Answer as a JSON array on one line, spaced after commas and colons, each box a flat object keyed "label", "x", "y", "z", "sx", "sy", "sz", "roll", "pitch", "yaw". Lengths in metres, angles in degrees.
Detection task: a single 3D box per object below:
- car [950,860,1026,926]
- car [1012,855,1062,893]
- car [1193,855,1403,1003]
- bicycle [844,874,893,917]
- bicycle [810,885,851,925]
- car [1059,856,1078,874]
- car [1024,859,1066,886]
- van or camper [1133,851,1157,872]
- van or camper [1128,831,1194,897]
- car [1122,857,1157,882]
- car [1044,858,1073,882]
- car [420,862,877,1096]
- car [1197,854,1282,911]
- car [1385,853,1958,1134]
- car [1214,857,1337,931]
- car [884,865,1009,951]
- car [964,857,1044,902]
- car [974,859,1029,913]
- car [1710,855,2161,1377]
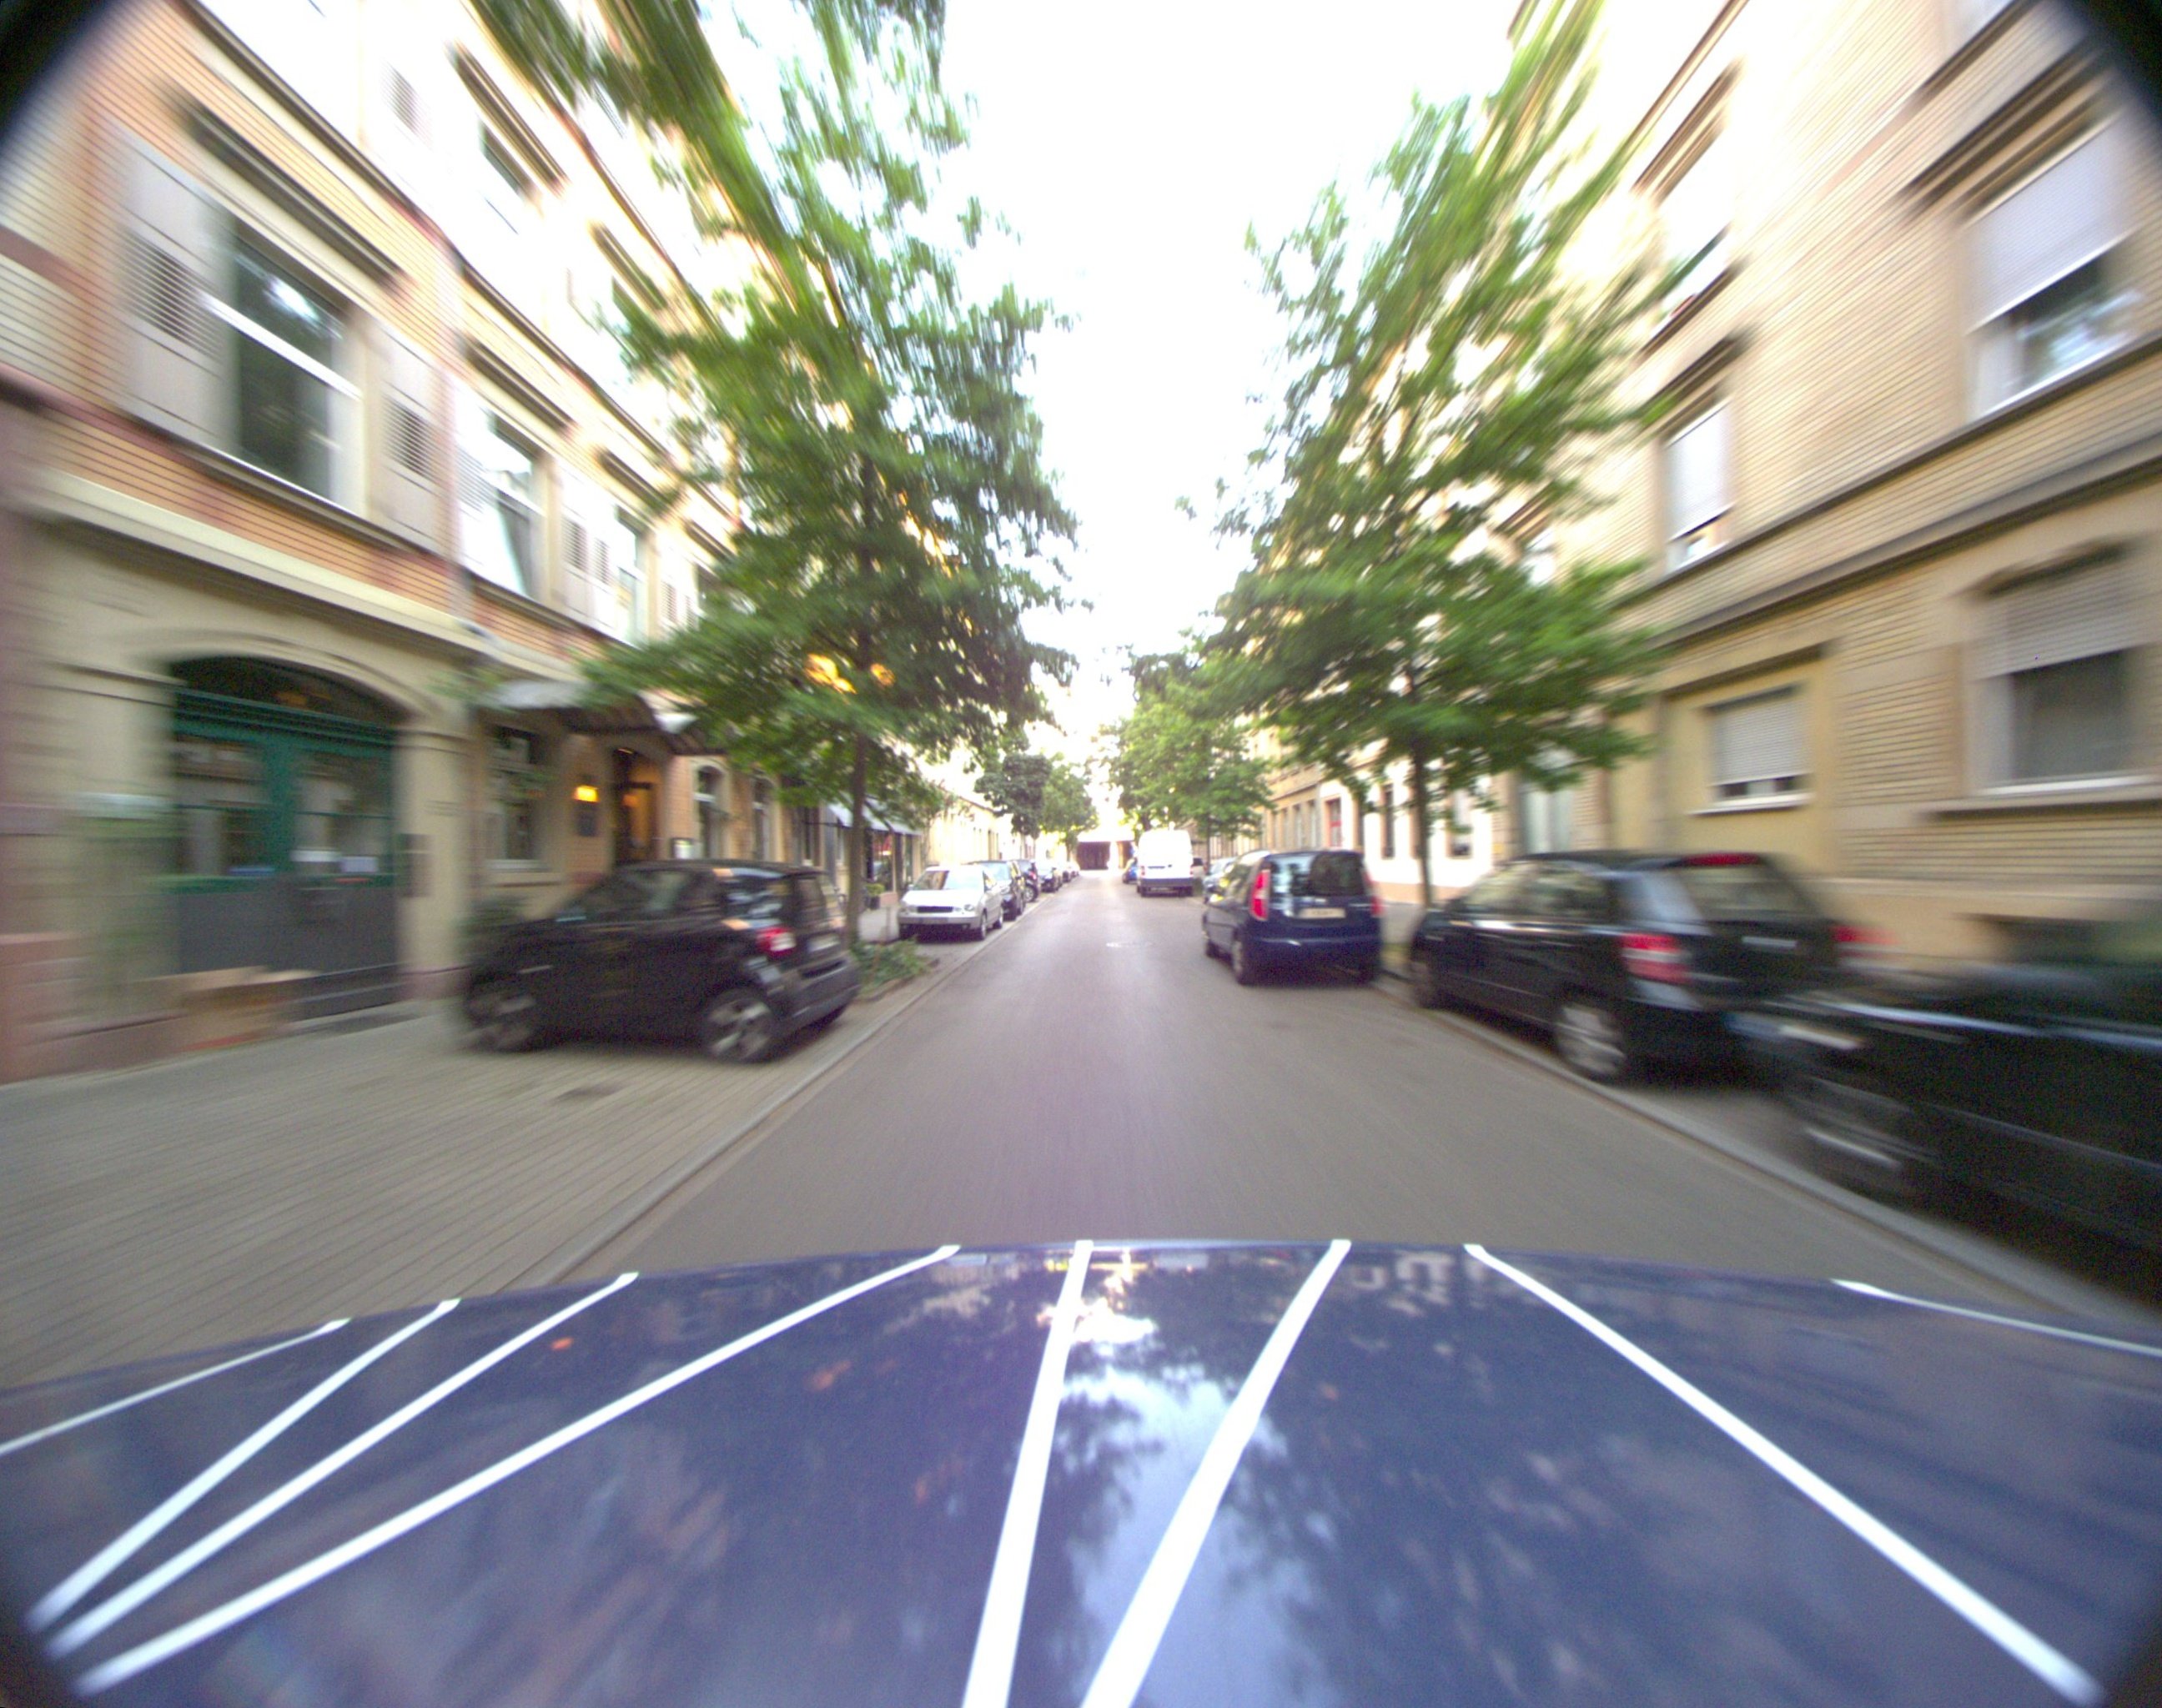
[{"label": "car", "x": -2.401, "y": 0.962, "z": 20.194, "sx": 1.595, "sy": 1.551, "sz": 3.122, "roll": -2, "pitch": 0, "yaw": 0}, {"label": "car", "x": -2.004, "y": 0.886, "z": 35.983, "sx": 1.944, "sy": 1.621, "sz": 4.454, "roll": -2, "pitch": 0, "yaw": 1}, {"label": "car", "x": 2.666, "y": 0.821, "z": 10.361, "sx": 1.728, "sy": 1.564, "sz": 4.220, "roll": -1, "pitch": 0, "yaw": 1}, {"label": "bicycle", "x": -5.802, "y": 1.111, "z": 20.874, "sx": 0.688, "sy": 1.030, "sz": 1.950, "roll": 1, "pitch": 0, "yaw": 3}, {"label": "bicycle", "x": -6.072, "y": 1.228, "z": 18.494, "sx": 0.447, "sy": 0.854, "sz": 1.547, "roll": -2, "pitch": 0, "yaw": 0}, {"label": "car", "x": -1.106, "y": 0.997, "z": 69.130, "sx": 1.656, "sy": 1.500, "sz": 3.869, "roll": -2, "pitch": 0, "yaw": -1}, {"label": "car", "x": -1.973, "y": 0.994, "z": 42.886, "sx": 2.051, "sy": 1.395, "sz": 4.866, "roll": -1, "pitch": 0, "yaw": 1}, {"label": "van or camper", "x": 5.680, "y": 0.649, "z": 68.132, "sx": 1.683, "sy": 1.847, "sz": 3.756, "roll": -2, "pitch": 0, "yaw": -1}, {"label": "van or camper", "x": 3.130, "y": 0.389, "z": 30.986, "sx": 2.225, "sy": 2.416, "sz": 5.661, "roll": -1, "pitch": 0, "yaw": 2}, {"label": "car", "x": 3.529, "y": 0.928, "z": 46.842, "sx": 1.665, "sy": 1.448, "sz": 4.283, "roll": -1, "pitch": 0, "yaw": -2}, {"label": "car", "x": -1.541, "y": 1.076, "z": 53.170, "sx": 1.835, "sy": 1.530, "sz": 4.124, "roll": -1, "pitch": 0, "yaw": 1}, {"label": "car", "x": -3.415, "y": 0.914, "z": 6.447, "sx": 2.804, "sy": 1.590, "sz": 1.801, "roll": 2, "pitch": 1, "yaw": 2}, {"label": "car", "x": 4.610, "y": 0.769, "z": 22.634, "sx": 1.688, "sy": 1.501, "sz": 4.114, "roll": -2, "pitch": 0, "yaw": 1}, {"label": "car", "x": 4.041, "y": 0.778, "z": 6.098, "sx": 1.695, "sy": 1.493, "sz": 3.711, "roll": -3, "pitch": 0, "yaw": 0}, {"label": "car", "x": 4.410, "y": 0.842, "z": 17.889, "sx": 1.771, "sy": 1.454, "sz": 4.258, "roll": -2, "pitch": 0, "yaw": 0}, {"label": "car", "x": -2.632, "y": 1.002, "z": 15.823, "sx": 1.737, "sy": 1.482, "sz": 4.104, "roll": -1, "pitch": 0, "yaw": 1}, {"label": "car", "x": -2.784, "y": 0.921, "z": 27.764, "sx": 2.721, "sy": 1.564, "sz": 1.526, "roll": 1, "pitch": 0, "yaw": 1}, {"label": "car", "x": -2.428, "y": 0.930, "z": 23.584, "sx": 1.468, "sy": 1.543, "sz": 2.917, "roll": -1, "pitch": 0, "yaw": -2}, {"label": "car", "x": 3.976, "y": 0.792, "z": 2.108, "sx": 1.523, "sy": 1.493, "sz": 3.561, "roll": -3, "pitch": 0, "yaw": 1}]
